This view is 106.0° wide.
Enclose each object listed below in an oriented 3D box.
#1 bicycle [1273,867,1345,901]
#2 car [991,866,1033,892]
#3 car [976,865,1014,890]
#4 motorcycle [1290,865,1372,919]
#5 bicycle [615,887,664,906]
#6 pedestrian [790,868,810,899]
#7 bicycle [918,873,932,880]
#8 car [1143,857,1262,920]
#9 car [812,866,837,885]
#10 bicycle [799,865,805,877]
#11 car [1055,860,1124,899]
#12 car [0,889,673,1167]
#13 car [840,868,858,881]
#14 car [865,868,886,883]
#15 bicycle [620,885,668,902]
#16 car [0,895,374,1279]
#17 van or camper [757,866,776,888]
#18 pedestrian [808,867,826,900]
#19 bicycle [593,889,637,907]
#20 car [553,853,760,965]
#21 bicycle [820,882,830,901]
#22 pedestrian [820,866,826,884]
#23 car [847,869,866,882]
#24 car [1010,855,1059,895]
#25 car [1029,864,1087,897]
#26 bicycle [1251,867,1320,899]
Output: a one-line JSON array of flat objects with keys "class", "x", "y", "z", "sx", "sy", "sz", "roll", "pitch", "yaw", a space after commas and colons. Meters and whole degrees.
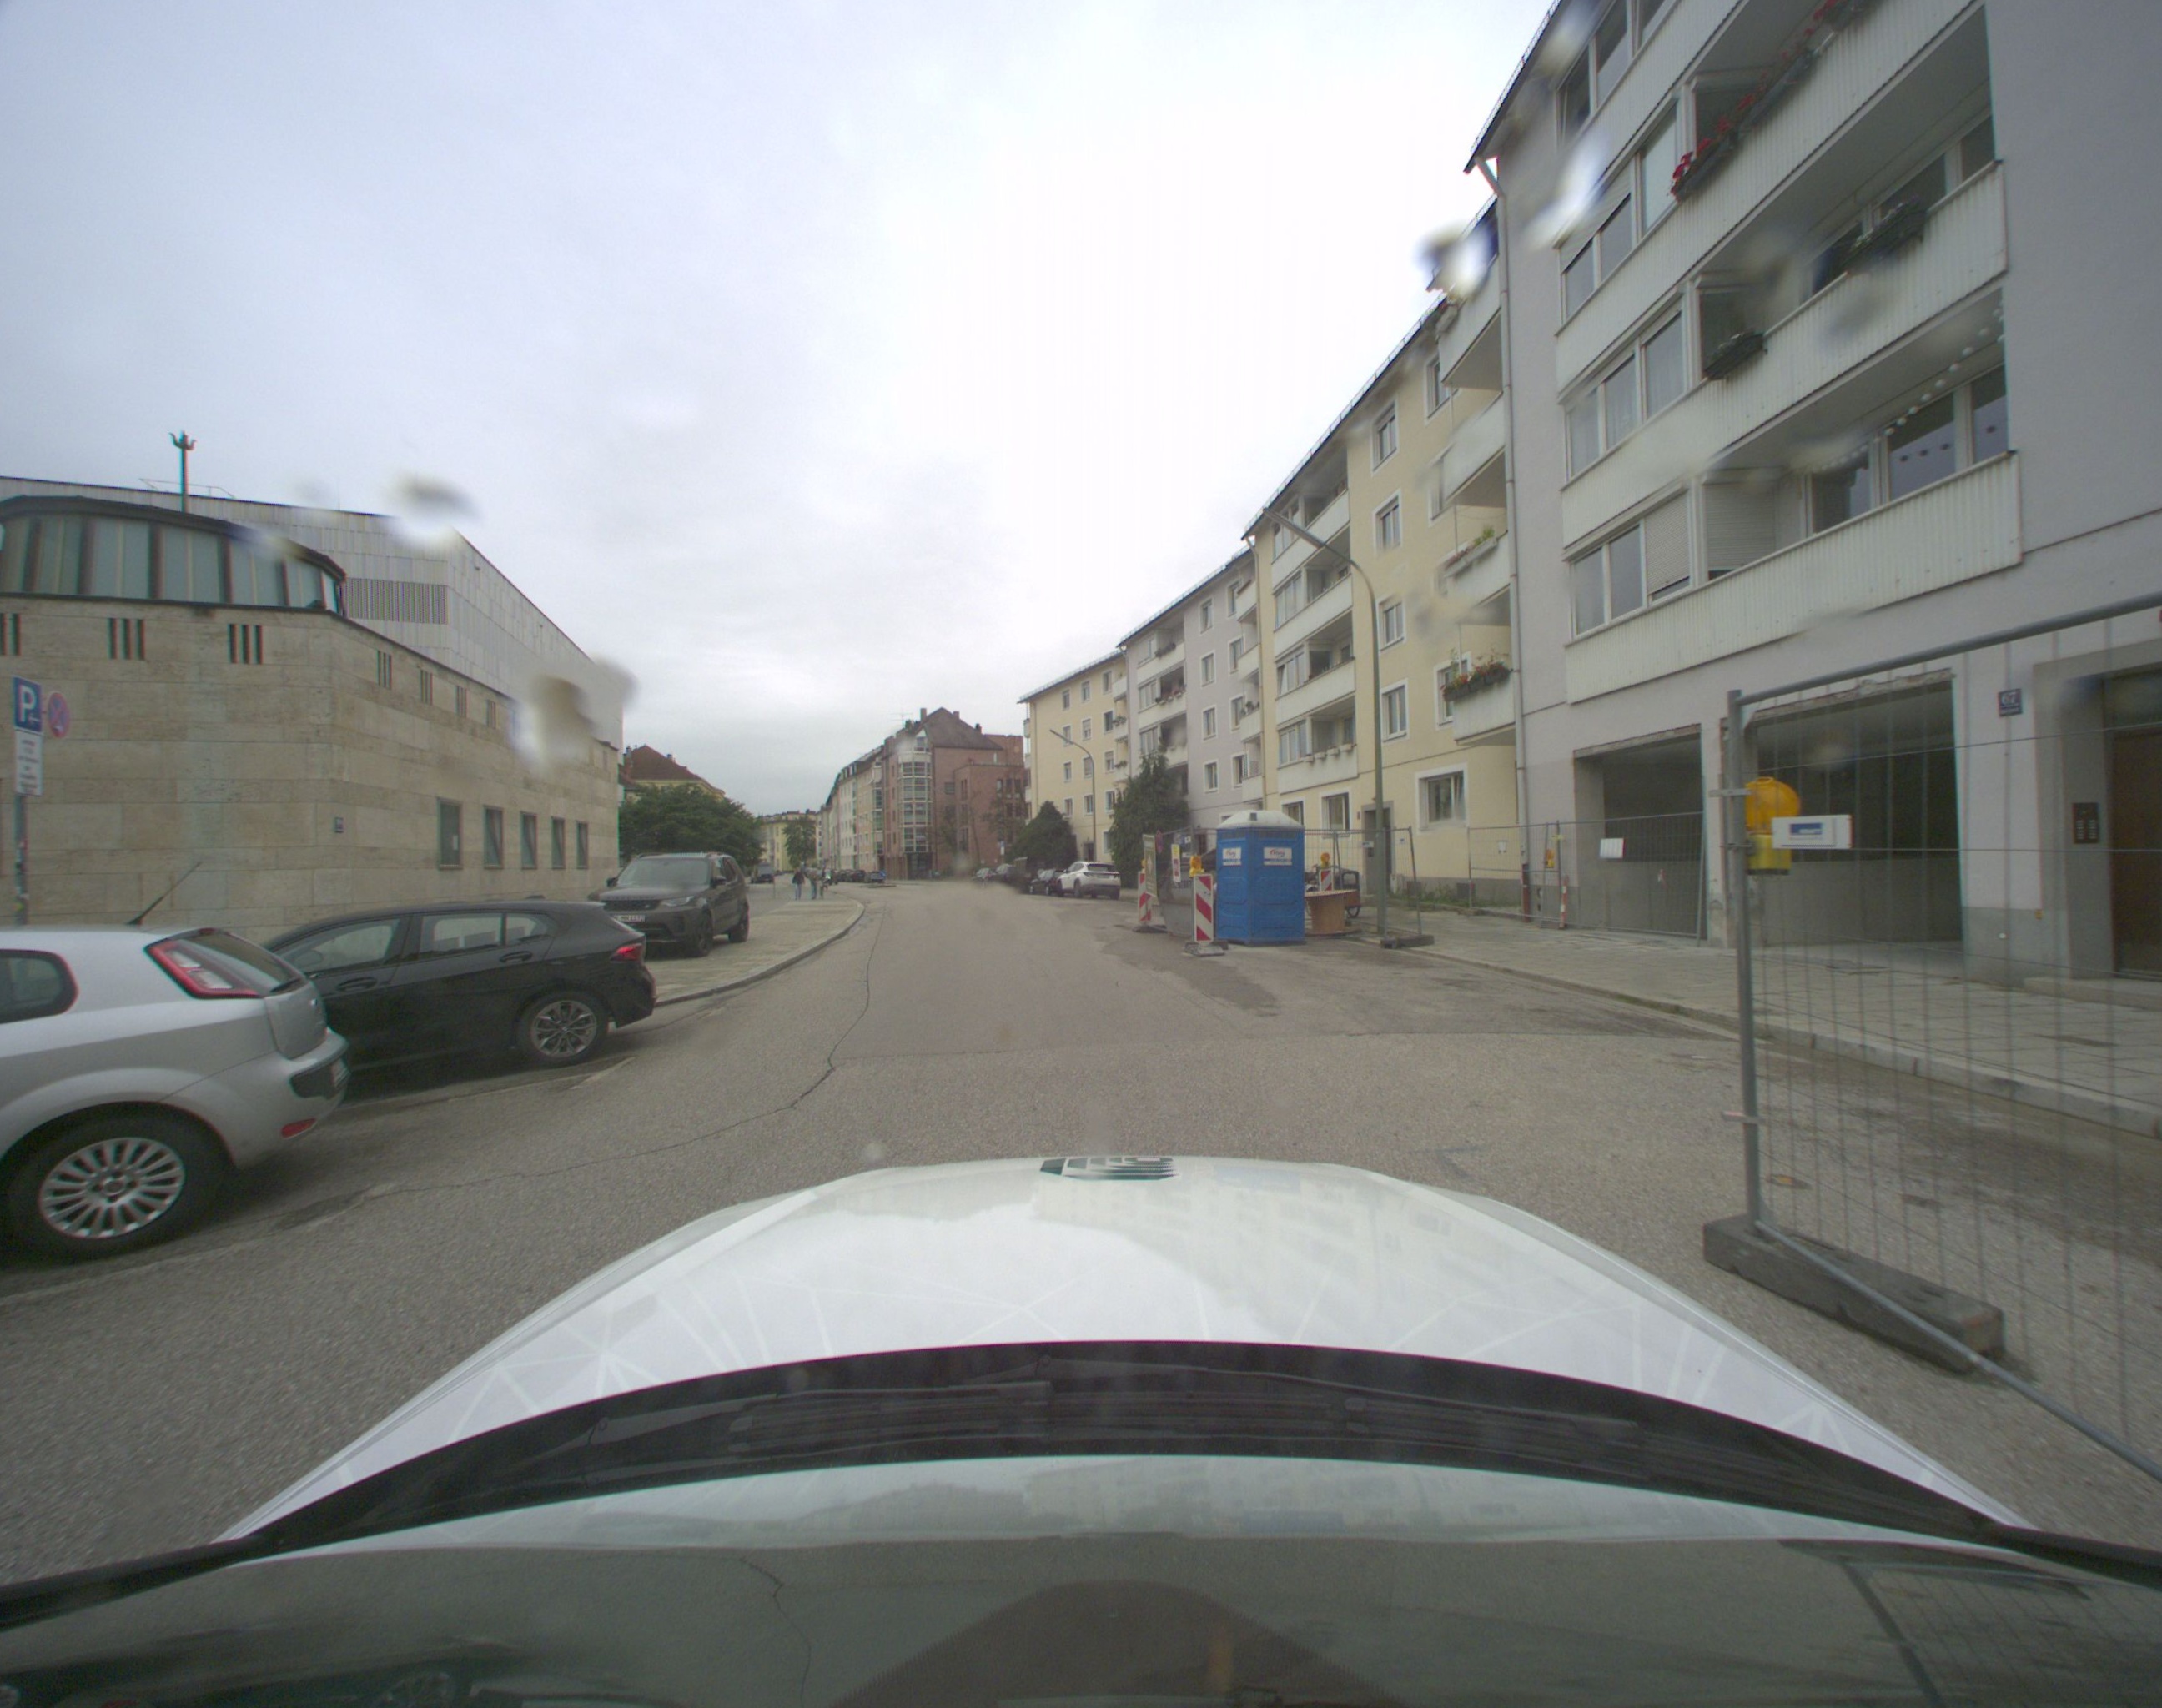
[{"class": "bicycle", "x": 7.877, "y": 1.020, "z": 28.163, "sx": 2.232, "sy": 1.069, "sz": 0.916, "roll": -1, "pitch": -1, "yaw": -9}, {"class": "car", "x": -4.287, "y": 1.495, "z": 50.065, "sx": 1.785, "sy": 1.510, "sz": 3.698, "roll": -1, "pitch": -1, "yaw": -17}, {"class": "car", "x": -5.752, "y": 1.554, "z": 54.272, "sx": 1.785, "sy": 1.510, "sz": 3.698, "roll": -2, "pitch": -1, "yaw": -17}, {"class": "motorcycle", "x": 6.162, "y": 0.901, "z": 20.288, "sx": 0.931, "sy": 1.221, "sz": 2.499, "roll": -1, "pitch": 0, "yaw": -9}, {"class": "bicycle", "x": -21.555, "y": 2.089, "z": 39.829, "sx": 2.040, "sy": 0.886, "sz": 0.669, "roll": 3, "pitch": -2, "yaw": -25}, {"class": "pedestrian", "x": -15.244, "y": 1.612, "z": 44.195, "sx": 0.760, "sy": 1.630, "sz": 0.919, "roll": -2, "pitch": -1, "yaw": -4}, {"class": "bicycle", "x": -18.410, "y": 2.646, "z": 95.988, "sx": 1.107, "sy": 0.854, "sz": 1.712, "roll": -1, "pitch": -1, "yaw": -27}, {"class": "car", "x": 3.112, "y": 0.854, "z": 21.787, "sx": 1.782, "sy": 1.438, "sz": 4.265, "roll": -2, "pitch": 0, "yaw": -11}, {"class": "car", "x": -26.411, "y": 2.189, "z": 83.812, "sx": 2.002, "sy": 1.835, "sz": 4.134, "roll": -1, "pitch": -1, "yaw": -23}, {"class": "bicycle", "x": -52.837, "y": 3.229, "z": 154.348, "sx": 1.029, "sy": 2.014, "sz": 3.258, "roll": -1, "pitch": -5, "yaw": -20}, {"class": "car", "x": 0.307, "y": 1.091, "z": 35.938, "sx": 1.836, "sy": 1.574, "sz": 3.975, "roll": -1, "pitch": 0, "yaw": -19}, {"class": "car", "x": -5.816, "y": 1.170, "z": 6.799, "sx": 4.017, "sy": 1.421, "sz": 1.794, "roll": -4, "pitch": -1, "yaw": -36}, {"class": "car", "x": -28.939, "y": 2.523, "z": 101.465, "sx": 1.640, "sy": 1.483, "sz": 3.581, "roll": -1, "pitch": -1, "yaw": -24}, {"class": "car", "x": -22.153, "y": 2.297, "z": 87.698, "sx": 1.640, "sy": 1.483, "sz": 3.581, "roll": -1, "pitch": -1, "yaw": -24}, {"class": "bicycle", "x": -22.820, "y": 2.065, "z": 42.557, "sx": 2.125, "sy": 0.879, "sz": 0.822, "roll": 3, "pitch": -2, "yaw": -25}, {"class": "car", "x": -5.741, "y": 1.089, "z": 3.522, "sx": 3.826, "sy": 1.507, "sz": 1.696, "roll": -4, "pitch": -1, "yaw": -35}, {"class": "van or camper", "x": -39.232, "y": 2.864, "z": 101.685, "sx": 2.105, "sy": 2.551, "sz": 4.737, "roll": -1, "pitch": -1, "yaw": -21}, {"class": "pedestrian", "x": -14.374, "y": 1.607, "z": 44.416, "sx": 0.735, "sy": 1.768, "sz": 0.918, "roll": -2, "pitch": -1, "yaw": -8}, {"class": "bicycle", "x": -21.122, "y": 1.992, "z": 36.952, "sx": 1.654, "sy": 0.798, "sz": 0.524, "roll": 3, "pitch": -2, "yaw": -27}, {"class": "car", "x": -7.759, "y": 0.923, "z": 15.522, "sx": 2.052, "sy": 1.736, "sz": 4.869, "roll": -1, "pitch": -1, "yaw": -10}, {"class": "bicycle", "x": -13.960, "y": 2.020, "z": 44.490, "sx": 0.389, "sy": 0.969, "sz": 1.707, "roll": -1, "pitch": -1, "yaw": -14}, {"class": "pedestrian", "x": -21.361, "y": 1.711, "z": 67.421, "sx": 0.462, "sy": 1.460, "sz": 0.440, "roll": -1, "pitch": -2, "yaw": -14}, {"class": "car", "x": -26.761, "y": 2.572, "z": 96.933, "sx": 1.640, "sy": 1.483, "sz": 3.581, "roll": -1, "pitch": -1, "yaw": -24}, {"class": "car", "x": -2.599, "y": 1.149, "z": 44.895, "sx": 1.786, "sy": 1.976, "sz": 3.698, "roll": -3, "pitch": 0, "yaw": -17}, {"class": "car", "x": -1.186, "y": 1.291, "z": 40.701, "sx": 1.787, "sy": 1.519, "sz": 3.693, "roll": 0, "pitch": -1, "yaw": -21}, {"class": "bicycle", "x": 7.420, "y": 1.029, "z": 29.630, "sx": 2.232, "sy": 1.069, "sz": 0.916, "roll": -1, "pitch": -1, "yaw": -9}]
